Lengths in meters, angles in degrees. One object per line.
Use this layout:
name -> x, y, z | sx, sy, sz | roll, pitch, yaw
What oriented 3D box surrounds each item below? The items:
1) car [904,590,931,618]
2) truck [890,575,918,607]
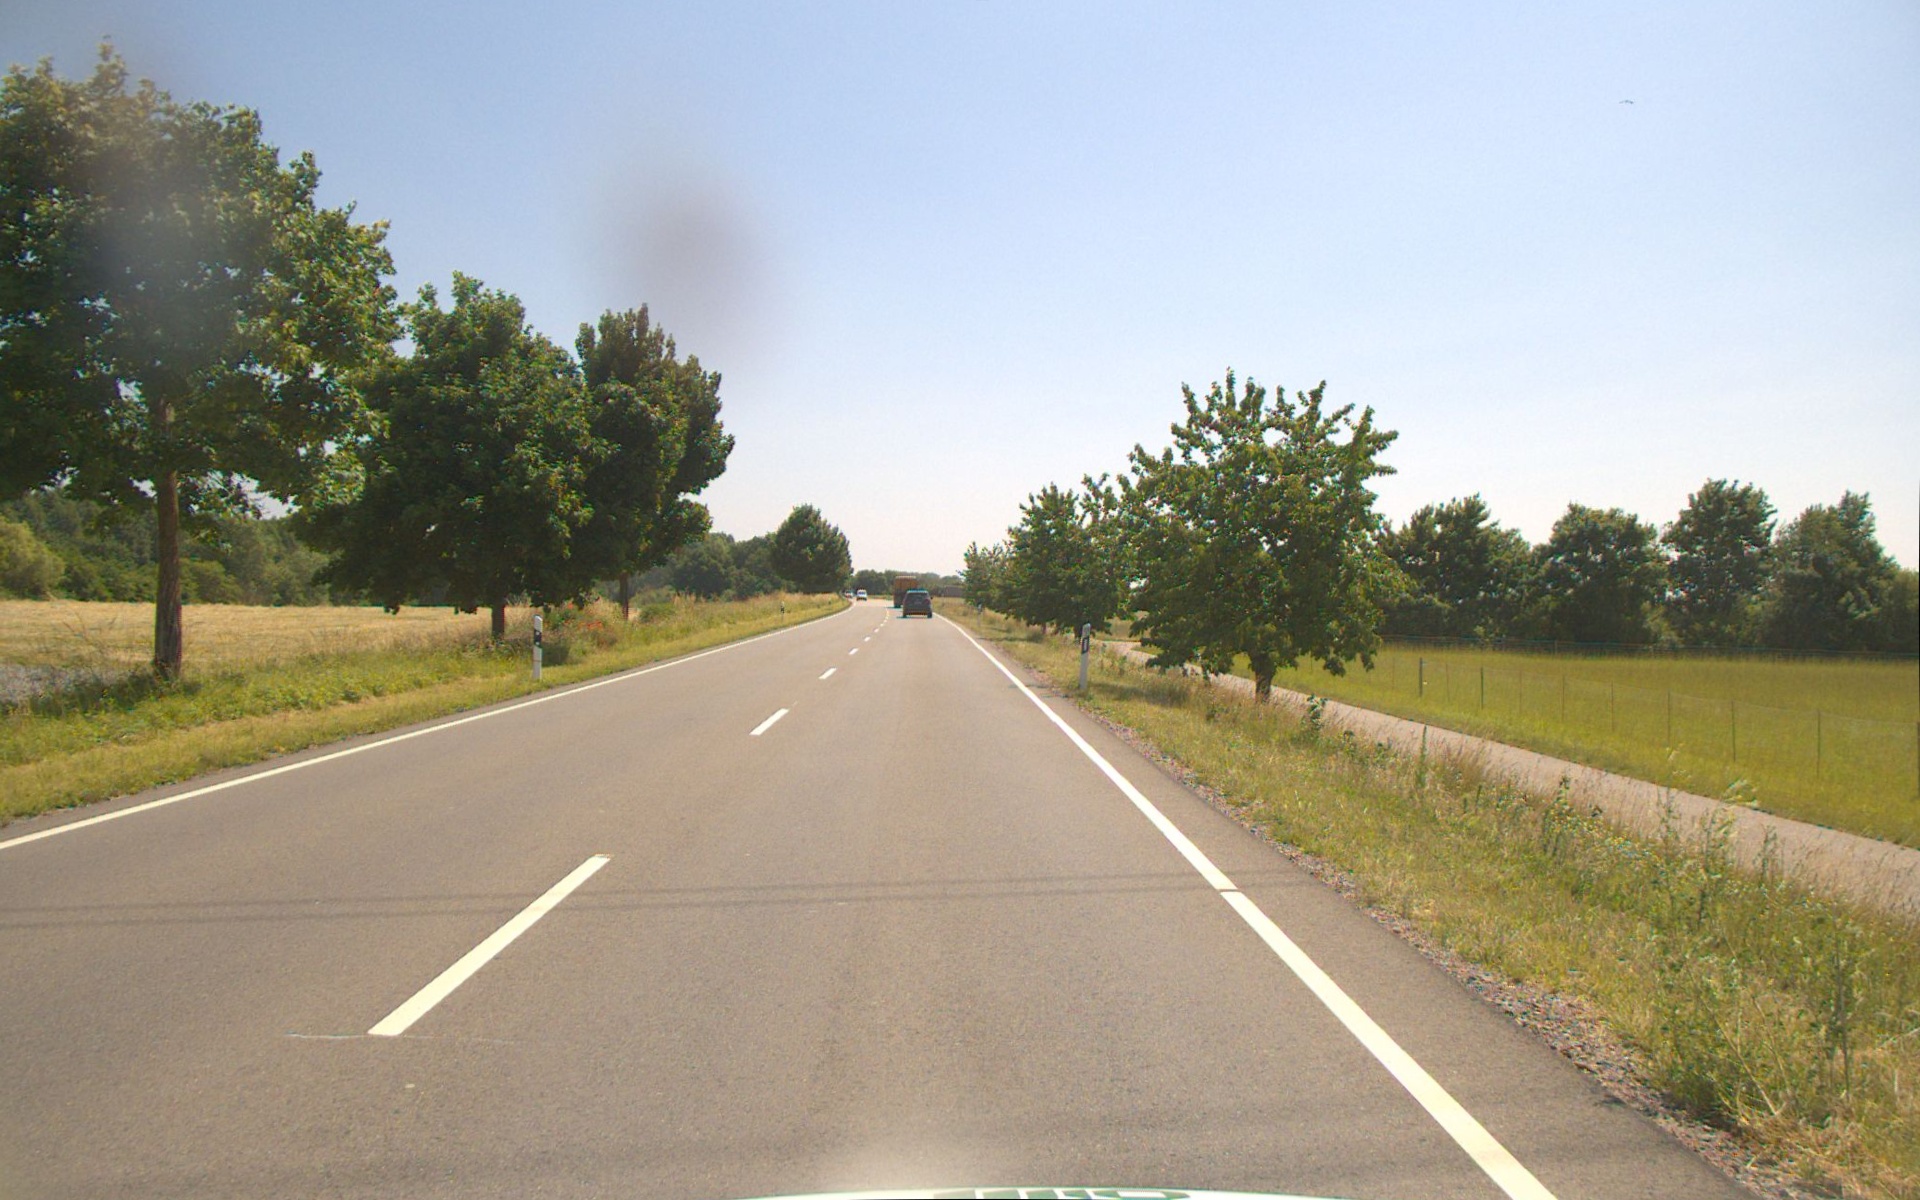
car -> -2.671, 0.253, 104.231 | 1.680, 1.723, 3.987 | 1, 0, -1
truck -> -5.817, -0.858, 170.165 | 2.324, 3.195, 8.738 | 1, 0, -5
